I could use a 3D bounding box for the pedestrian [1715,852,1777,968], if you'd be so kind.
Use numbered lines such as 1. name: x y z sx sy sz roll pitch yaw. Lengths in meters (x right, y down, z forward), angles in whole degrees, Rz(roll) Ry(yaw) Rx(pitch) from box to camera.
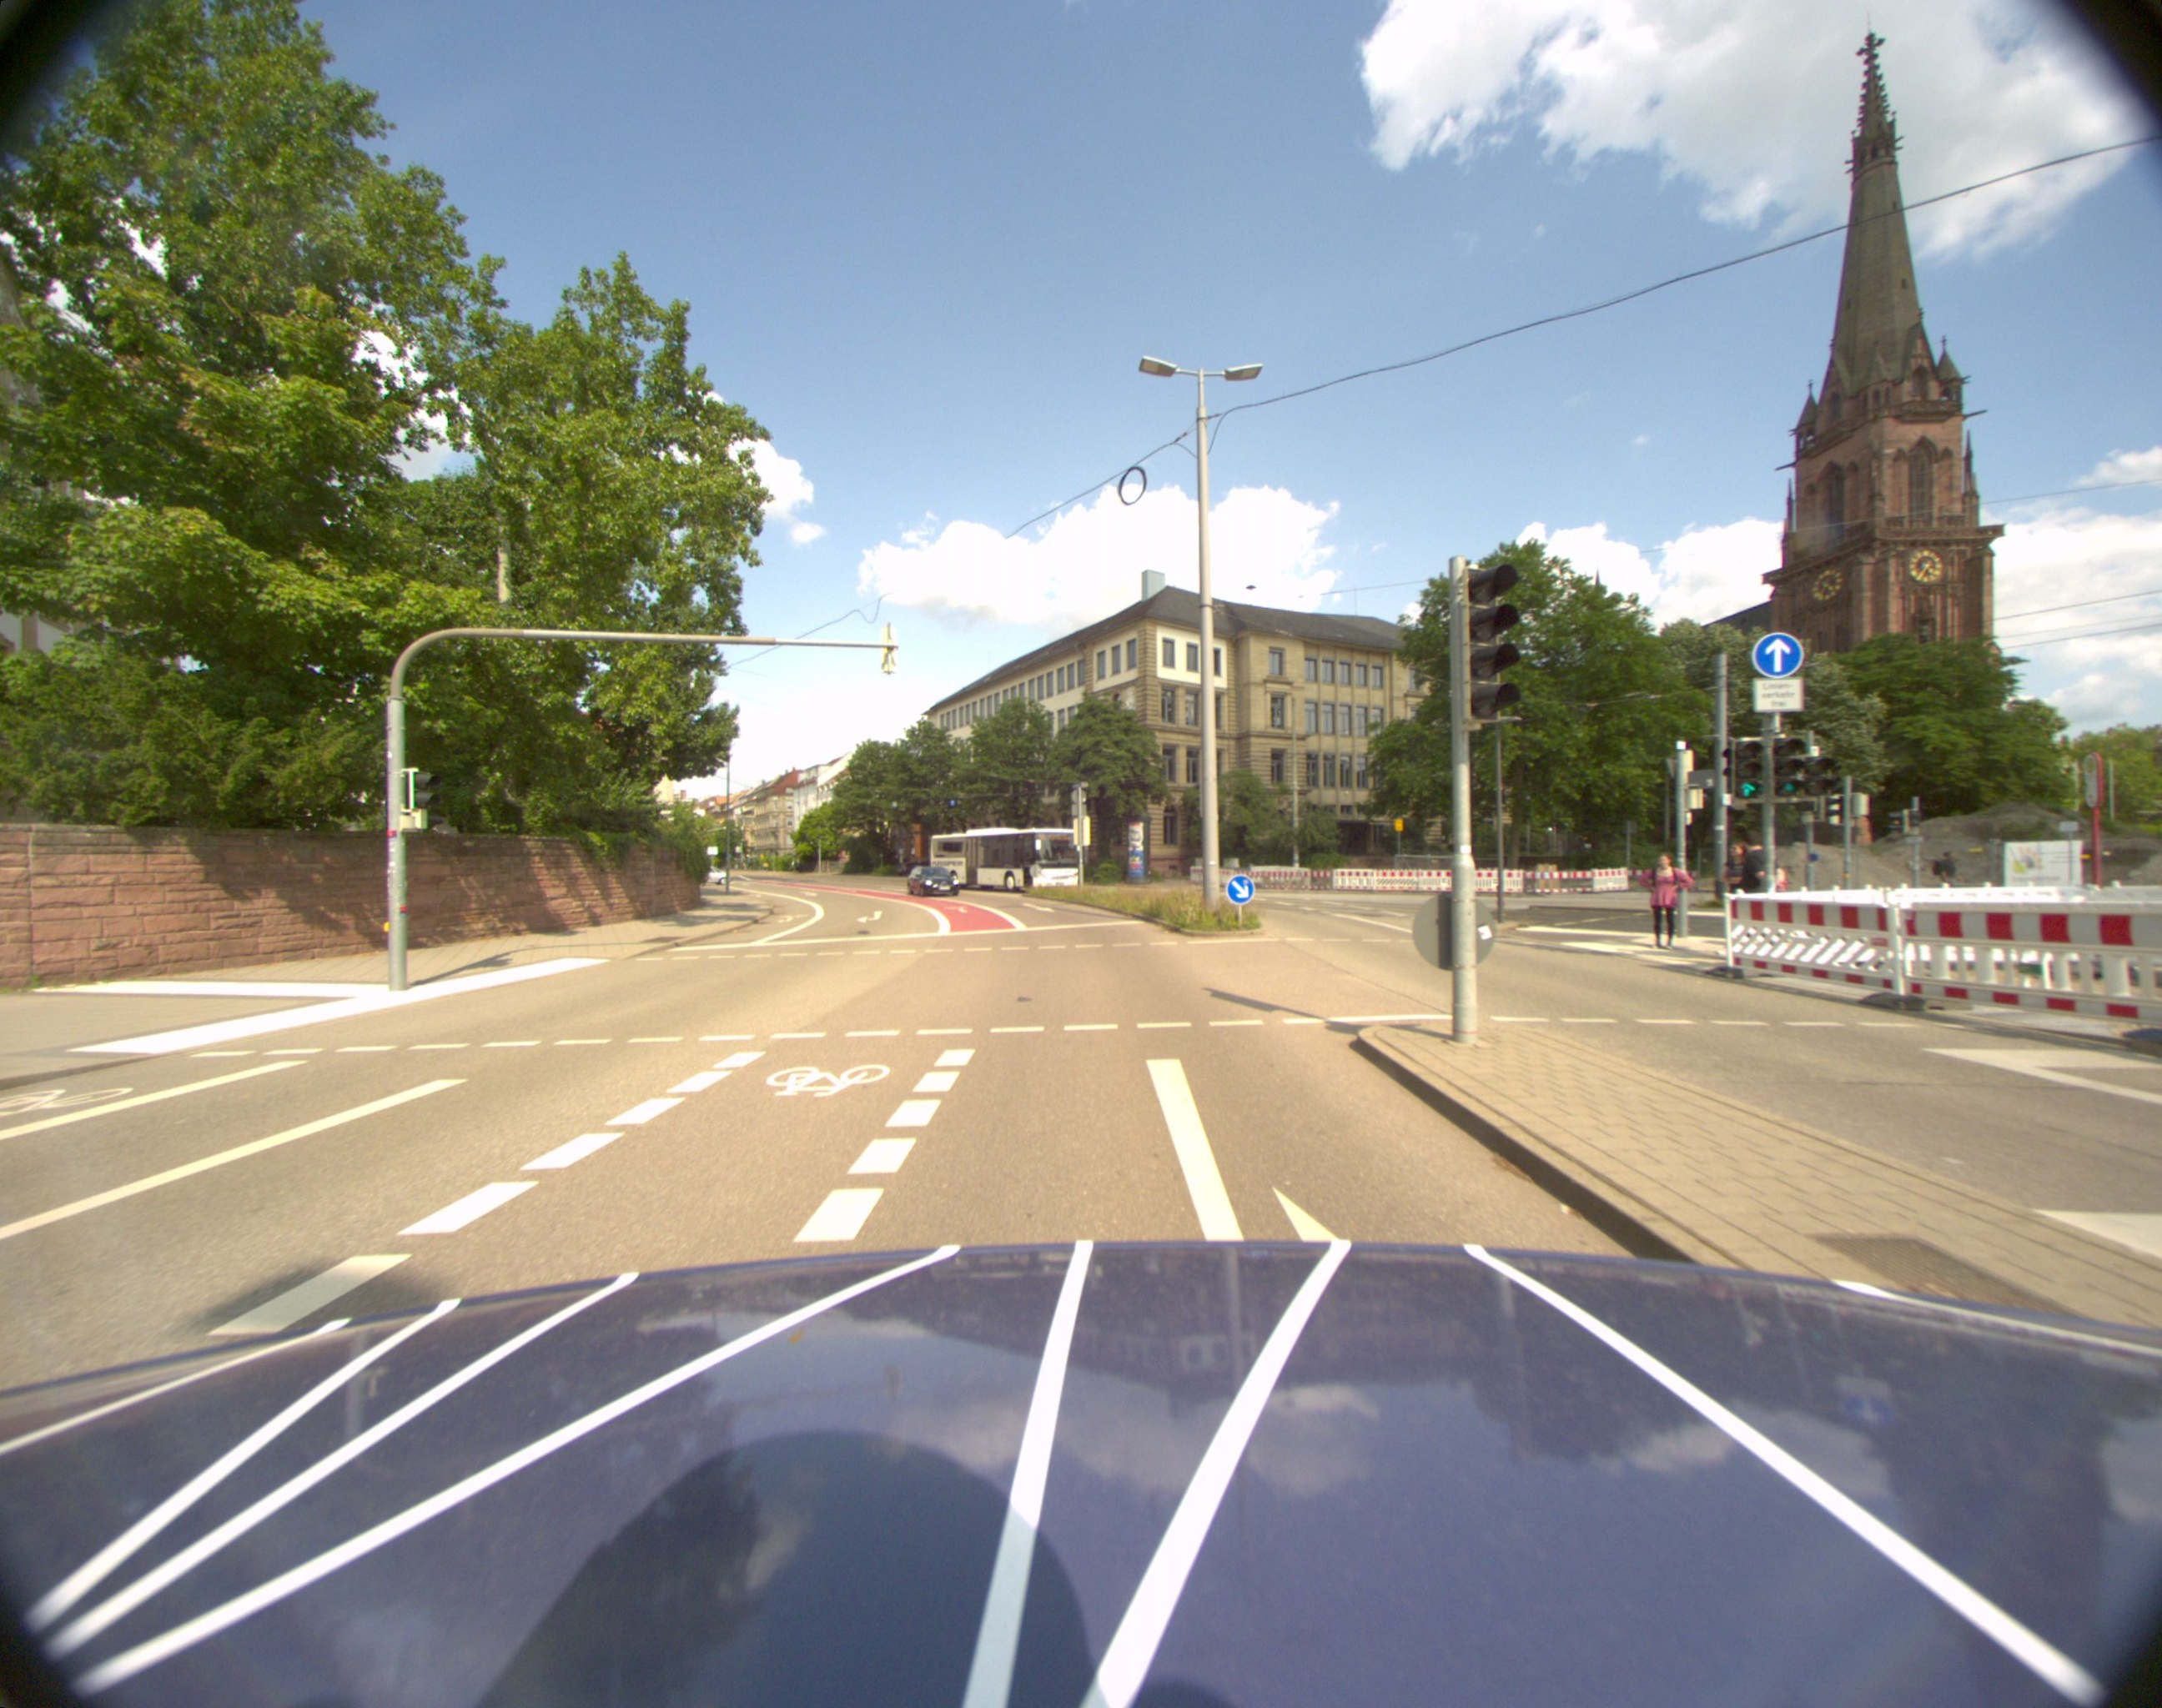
1. pedestrian: 10.190 0.837 11.658 0.409 1.726 0.621 -1 0 -1

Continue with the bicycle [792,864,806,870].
1. bicycle: -42.992 1.942 115.815 1.148 0.904 2.981 -4 2 -34

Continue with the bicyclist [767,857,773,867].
1. bicyclist: -49.665 1.282 121.391 0.694 1.510 0.865 1 -1 -37

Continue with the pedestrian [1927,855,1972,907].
1. pedestrian: 28.110 0.853 24.599 0.581 1.642 0.788 -1 0 -18

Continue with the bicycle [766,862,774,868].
1. bicycle: -49.614 1.711 121.311 0.702 1.011 1.814 1 -1 -38

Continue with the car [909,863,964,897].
1. car: -7.229 1.237 37.766 1.697 1.567 4.148 -1 0 -25

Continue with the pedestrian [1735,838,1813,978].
1. pedestrian: 9.739 0.730 10.708 0.611 1.874 0.795 0 0 26

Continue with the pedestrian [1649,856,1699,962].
1. pedestrian: 9.808 0.887 12.578 0.621 1.696 0.614 0 0 36

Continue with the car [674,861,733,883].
1. car: -29.459 1.402 59.348 3.900 1.595 1.661 0 -2 -37

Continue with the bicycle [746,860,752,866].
1. bicycle: -60.302 1.632 137.848 0.606 1.090 2.018 6 -4 -31

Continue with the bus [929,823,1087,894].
1. bus: -4.394 0.203 41.436 2.932 3.309 12.174 -2 1 -35

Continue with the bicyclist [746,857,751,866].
1. bicyclist: -60.299 1.326 137.901 0.602 1.483 0.880 6 -4 -31

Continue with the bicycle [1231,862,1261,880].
1. bicycle: 11.130 1.134 51.131 2.124 1.161 0.728 -2 1 -36
